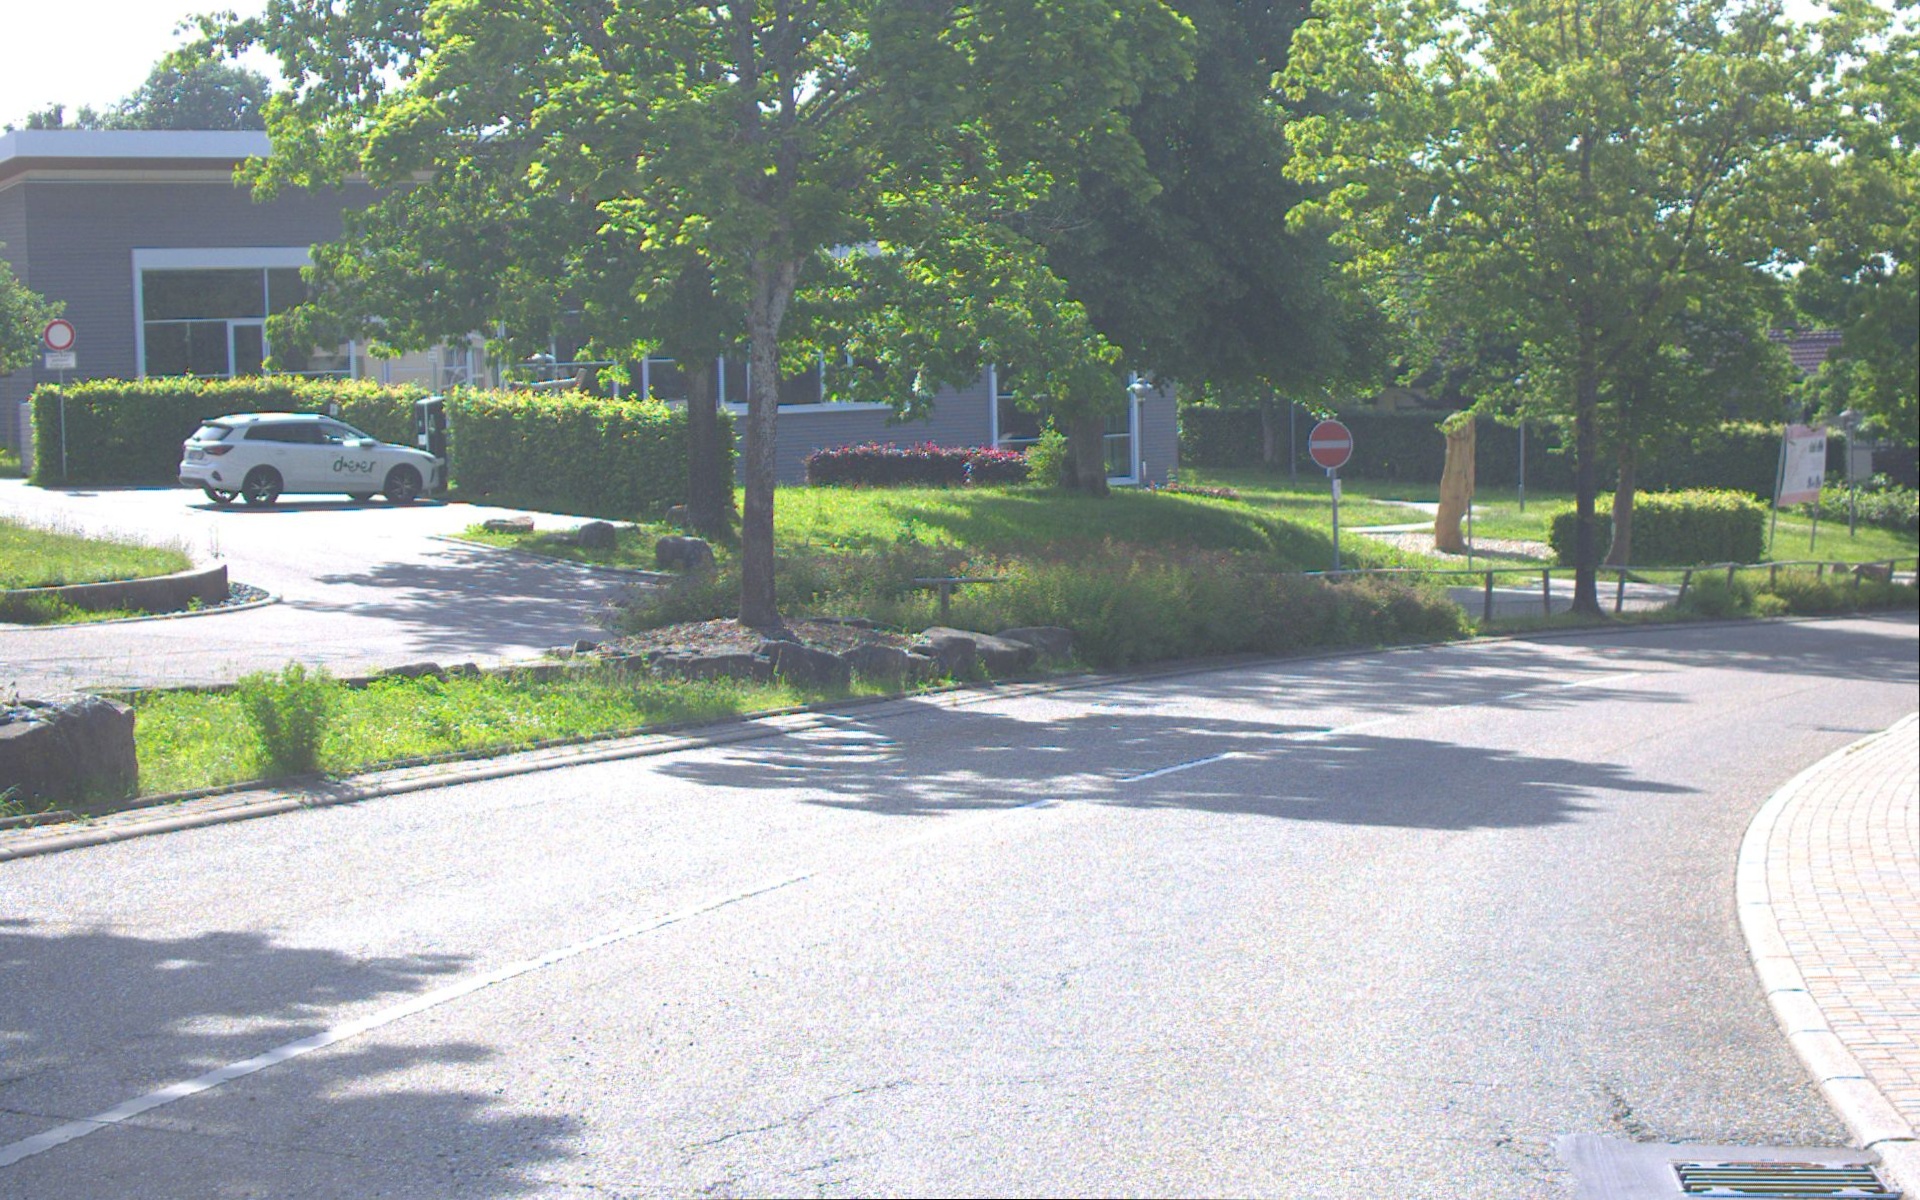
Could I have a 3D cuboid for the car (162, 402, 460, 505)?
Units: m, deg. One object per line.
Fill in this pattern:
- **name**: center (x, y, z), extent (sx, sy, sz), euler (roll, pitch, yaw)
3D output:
- **car**: center (-11.356, -2.592, 60.253), extent (4.716, 1.528, 2.000), euler (-3, 8, -35)
